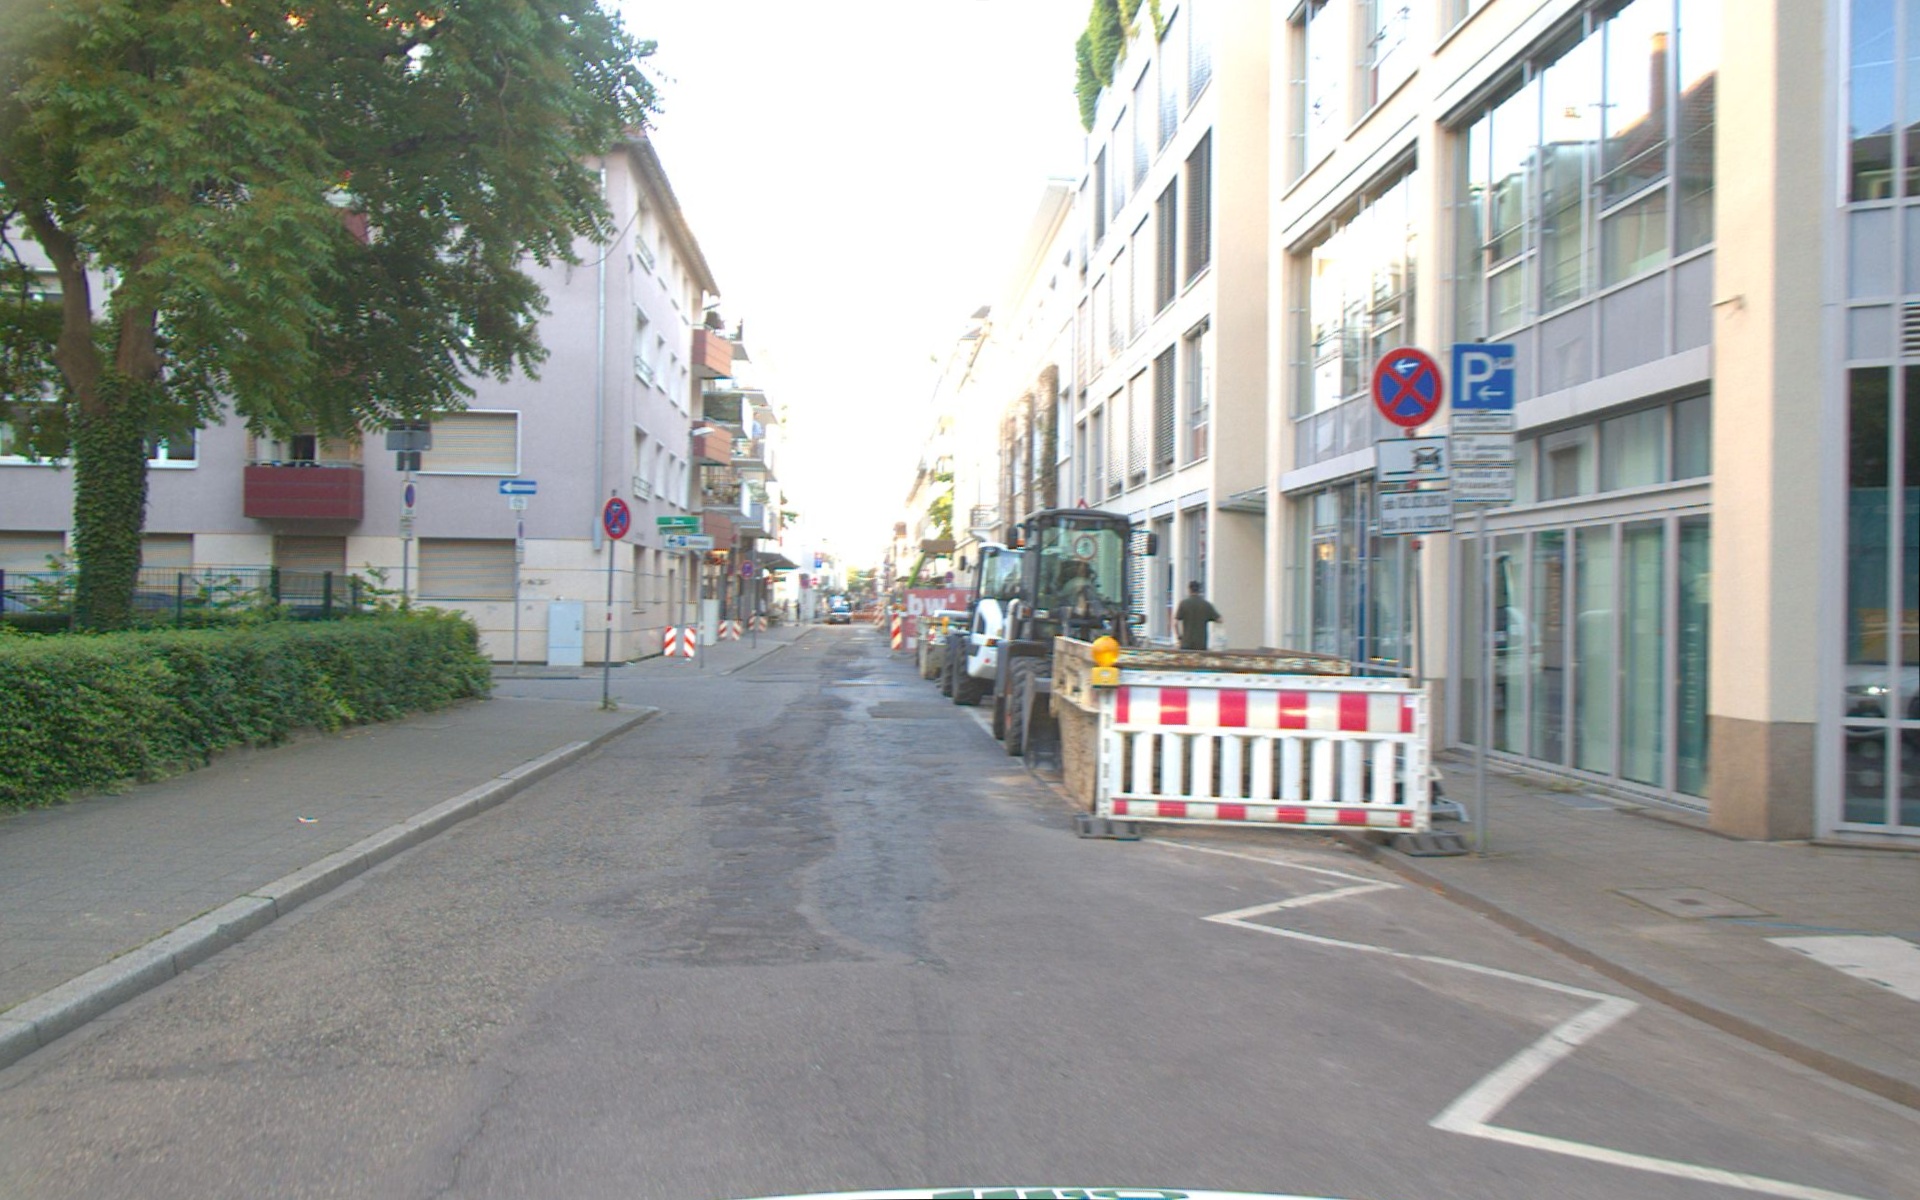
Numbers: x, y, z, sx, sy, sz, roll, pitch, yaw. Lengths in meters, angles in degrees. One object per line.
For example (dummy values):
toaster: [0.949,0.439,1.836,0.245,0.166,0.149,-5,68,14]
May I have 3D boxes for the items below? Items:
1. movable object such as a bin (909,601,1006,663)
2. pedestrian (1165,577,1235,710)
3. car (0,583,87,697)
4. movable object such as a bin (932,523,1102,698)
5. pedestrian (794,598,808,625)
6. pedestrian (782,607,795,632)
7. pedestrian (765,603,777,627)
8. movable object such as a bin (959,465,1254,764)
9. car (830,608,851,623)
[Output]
movable object such as a bin: [-0.114,0.744,40.172,2.006,1.436,3.970,0,0,-5]
pedestrian: [3.461,0.620,23.920,0.869,1.883,0.876,1,0,-1]
car: [-16.626,0.616,27.283,3.454,1.787,1.883,1,1,-7]
movable object such as a bin: [0.818,0.166,26.681,2.232,2.585,4.093,0,0,-5]
pedestrian: [-10.060,0.736,104.622,0.781,1.690,0.744,0,0,-1]
pedestrian: [-11.322,1.285,109.392,0.781,1.622,0.744,0,-1,-1]
pedestrian: [-11.234,0.894,98.335,0.651,1.463,0.533,0,0,0]
movable object such as a bin: [1.360,0.141,18.101,2.232,2.739,5.642,0,0,-5]
car: [-9.739,1.266,134.748,1.507,1.154,3.116,0,0,-7]
